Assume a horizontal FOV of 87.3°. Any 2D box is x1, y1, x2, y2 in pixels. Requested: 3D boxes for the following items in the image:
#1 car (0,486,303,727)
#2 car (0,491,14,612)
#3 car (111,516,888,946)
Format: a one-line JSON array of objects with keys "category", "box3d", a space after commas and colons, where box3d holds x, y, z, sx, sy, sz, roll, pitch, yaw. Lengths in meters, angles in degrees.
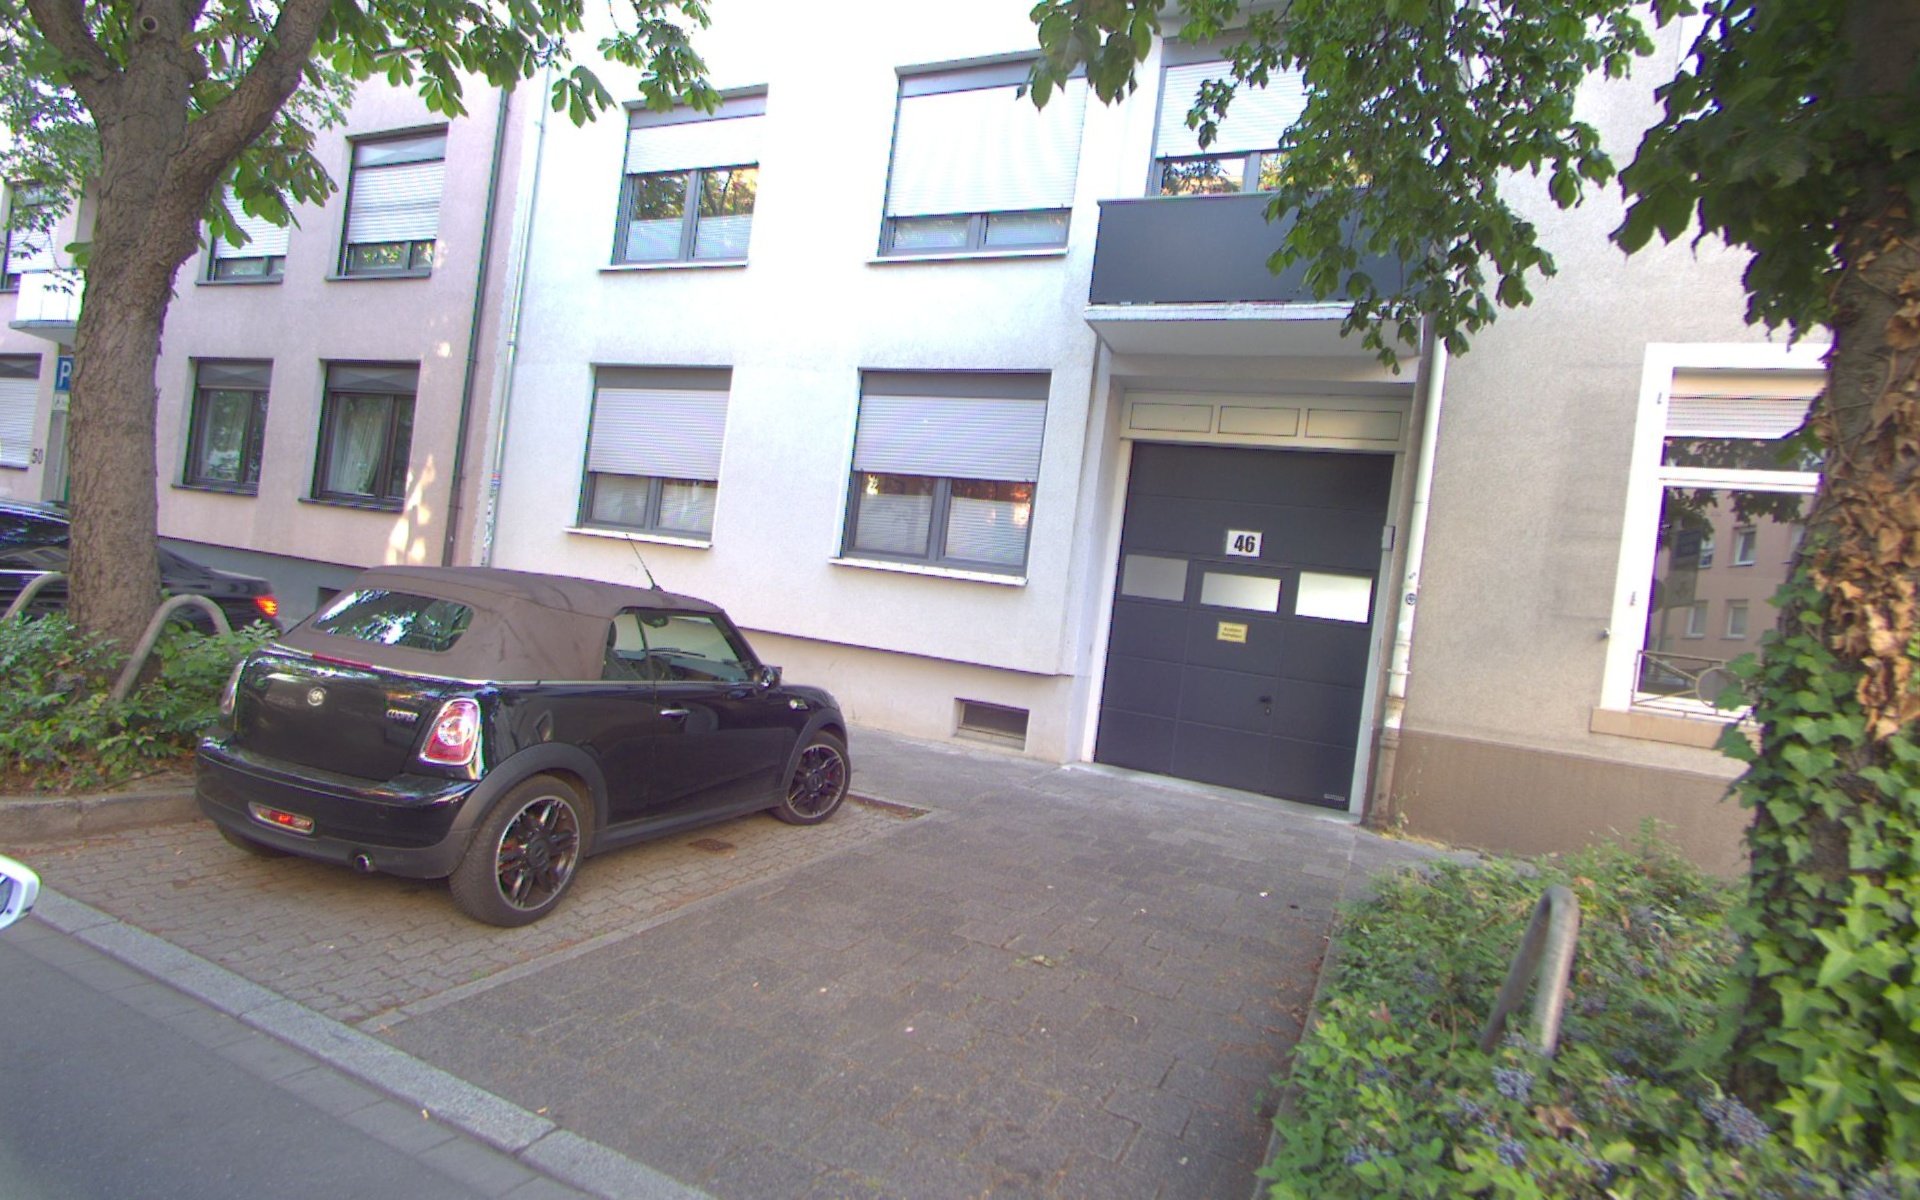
[{"category": "car", "box3d": [-7.015, -0.092, 6.094, 1.768, 1.497, 4.758, 7, -1, 26]}, {"category": "car", "box3d": [-13.325, -0.810, 11.009, 1.634, 1.494, 3.921, 7, -1, 24]}, {"category": "car", "box3d": [-1.993, 0.546, 5.502, 1.634, 1.380, 3.622, 7, -1, 22]}]
